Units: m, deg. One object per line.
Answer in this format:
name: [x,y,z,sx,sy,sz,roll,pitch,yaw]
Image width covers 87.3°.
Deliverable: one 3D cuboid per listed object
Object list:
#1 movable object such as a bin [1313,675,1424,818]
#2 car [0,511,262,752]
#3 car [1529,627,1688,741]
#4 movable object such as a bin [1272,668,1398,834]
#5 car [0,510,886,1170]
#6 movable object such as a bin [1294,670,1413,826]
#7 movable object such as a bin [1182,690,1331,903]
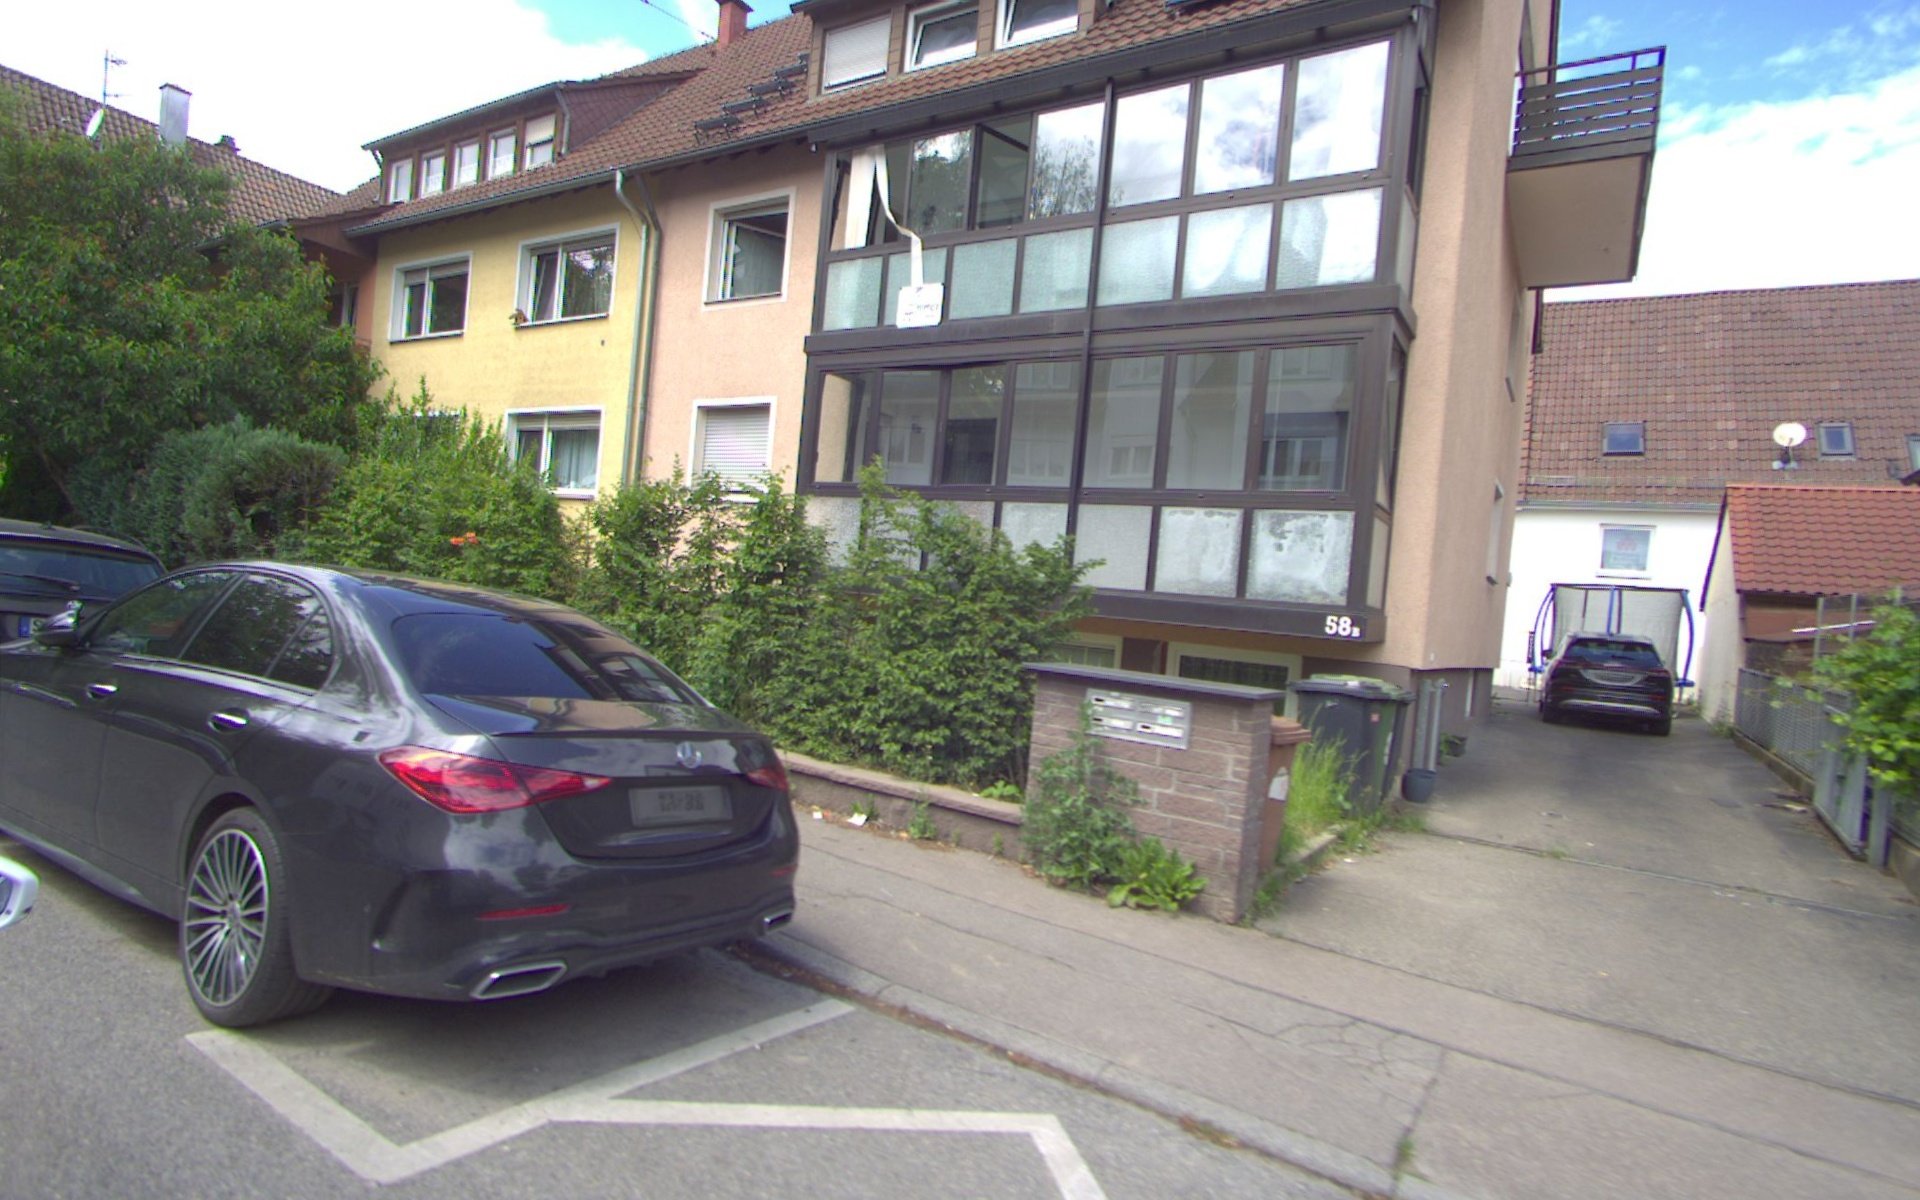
movable object such as a bin: [3.636,1.280,8.954,0.716,1.133,0.548,5,0,37]
car: [-7.513,0.043,7.697,4.515,1.441,1.994,6,0,34]
car: [11.360,1.386,17.730,2.005,1.594,3.987,5,1,33]
movable object such as a bin: [2.974,1.169,7.970,0.716,1.173,0.548,5,0,37]
car: [-2.842,0.530,4.454,4.803,1.444,1.738,6,-3,33]
movable object such as a bin: [3.308,1.215,8.455,0.716,1.173,0.548,5,0,37]
movable object such as a bin: [1.735,1.110,5.874,0.595,1.094,0.523,5,0,38]
